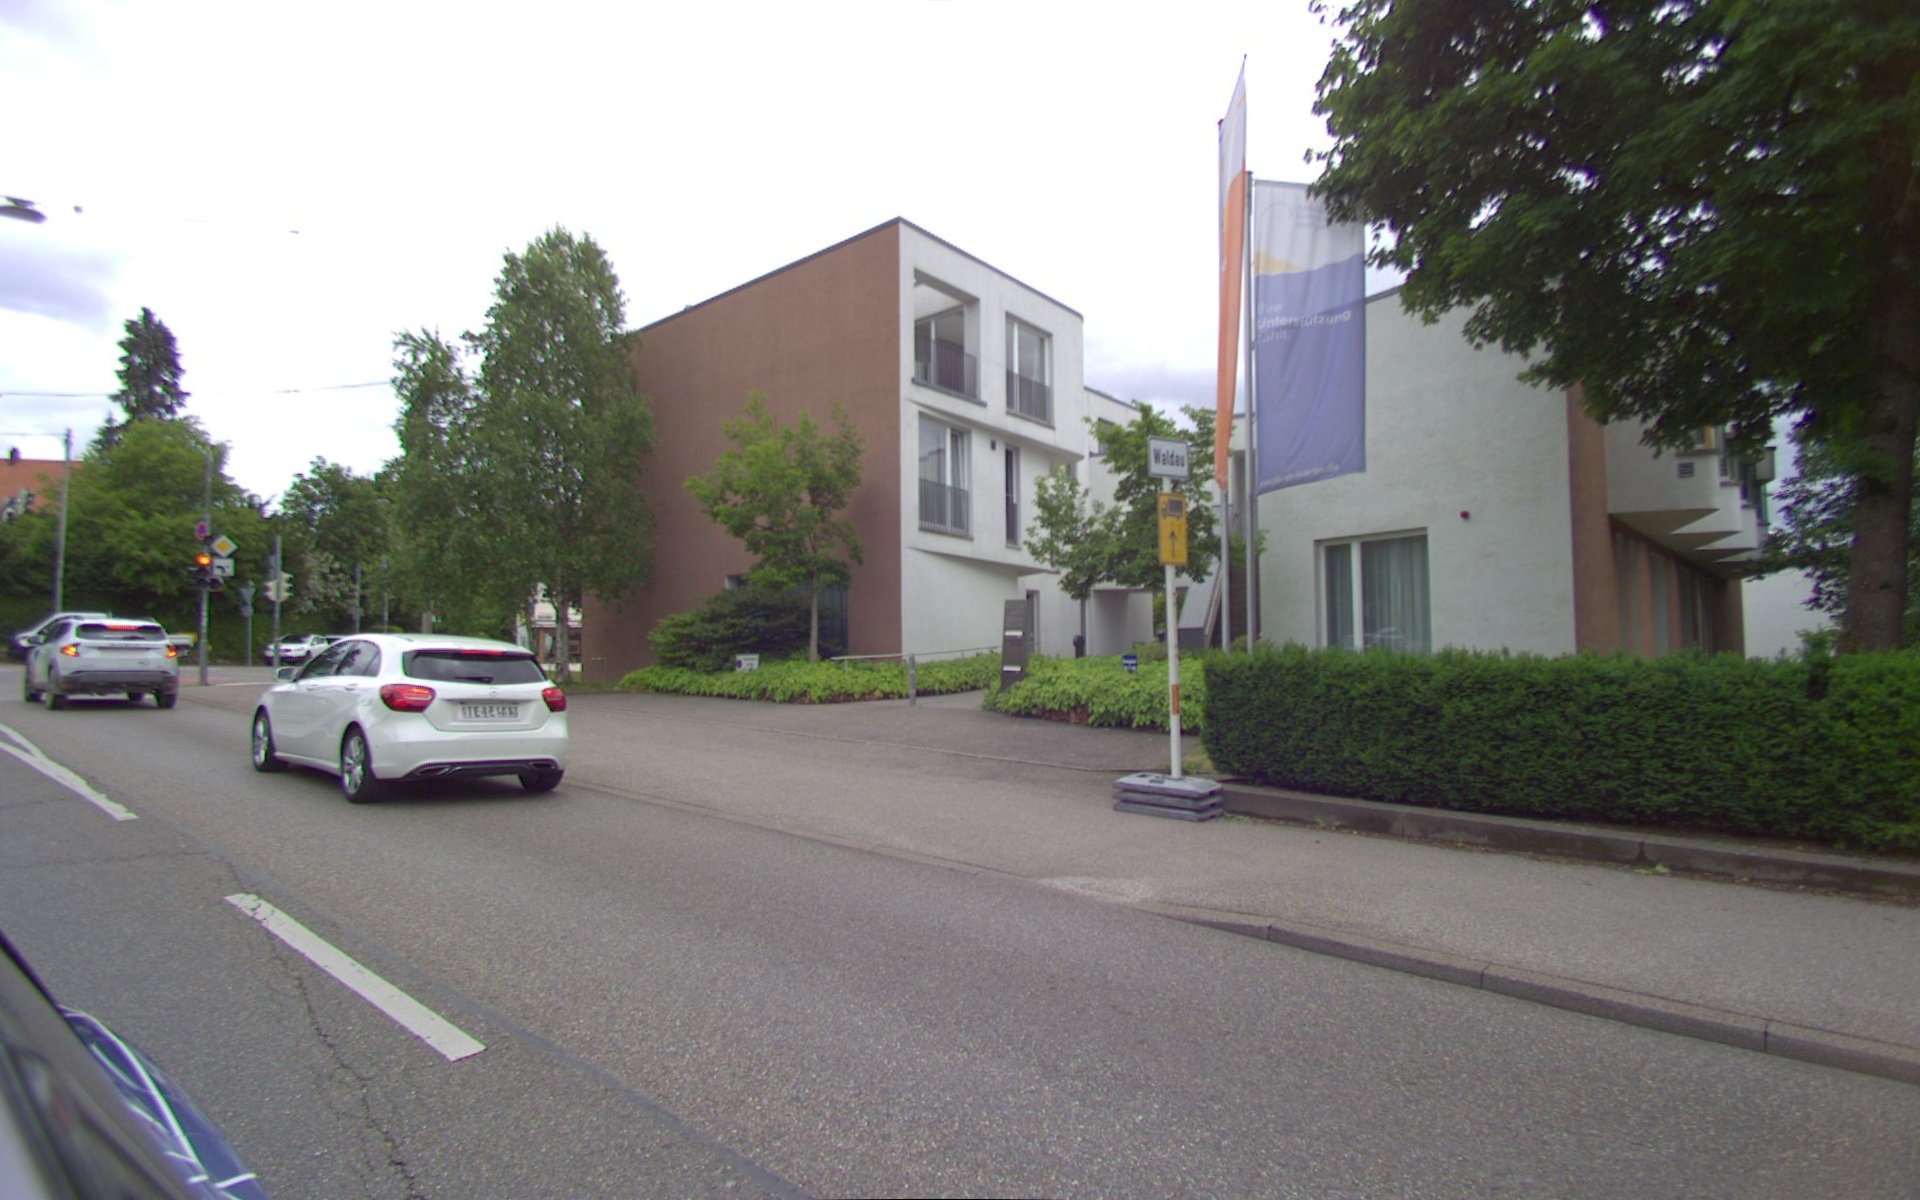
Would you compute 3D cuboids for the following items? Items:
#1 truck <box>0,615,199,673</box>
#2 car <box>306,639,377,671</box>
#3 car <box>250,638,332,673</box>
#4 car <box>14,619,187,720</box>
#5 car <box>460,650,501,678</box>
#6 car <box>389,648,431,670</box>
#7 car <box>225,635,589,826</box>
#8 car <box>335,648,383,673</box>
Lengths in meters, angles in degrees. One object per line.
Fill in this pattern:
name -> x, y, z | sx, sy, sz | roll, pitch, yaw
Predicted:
truck -> -36.721, 1.913, 43.231 | 6.609, 2.205, 2.535 | 4, -4, -38
car -> -34.291, 3.069, 56.224 | 1.967, 1.625, 4.008 | 2, -4, -10
car -> -33.416, 2.769, 50.675 | 1.967, 1.625, 4.008 | 2, -4, -10
car -> -15.957, 1.253, 18.722 | 4.300, 1.650, 1.750 | -1, -6, 42
car -> -26.299, 3.490, 55.580 | 1.848, 1.460, 4.013 | 3, -4, -23
car -> -41.218, 4.408, 75.975 | 1.841, 1.599, 3.740 | 2, -3, -14
car -> -5.454, 1.101, 9.768 | 4.064, 1.432, 1.748 | -1, -5, 42
car -> -36.607, 3.641, 61.700 | 1.840, 1.464, 3.742 | 1, -3, -20
